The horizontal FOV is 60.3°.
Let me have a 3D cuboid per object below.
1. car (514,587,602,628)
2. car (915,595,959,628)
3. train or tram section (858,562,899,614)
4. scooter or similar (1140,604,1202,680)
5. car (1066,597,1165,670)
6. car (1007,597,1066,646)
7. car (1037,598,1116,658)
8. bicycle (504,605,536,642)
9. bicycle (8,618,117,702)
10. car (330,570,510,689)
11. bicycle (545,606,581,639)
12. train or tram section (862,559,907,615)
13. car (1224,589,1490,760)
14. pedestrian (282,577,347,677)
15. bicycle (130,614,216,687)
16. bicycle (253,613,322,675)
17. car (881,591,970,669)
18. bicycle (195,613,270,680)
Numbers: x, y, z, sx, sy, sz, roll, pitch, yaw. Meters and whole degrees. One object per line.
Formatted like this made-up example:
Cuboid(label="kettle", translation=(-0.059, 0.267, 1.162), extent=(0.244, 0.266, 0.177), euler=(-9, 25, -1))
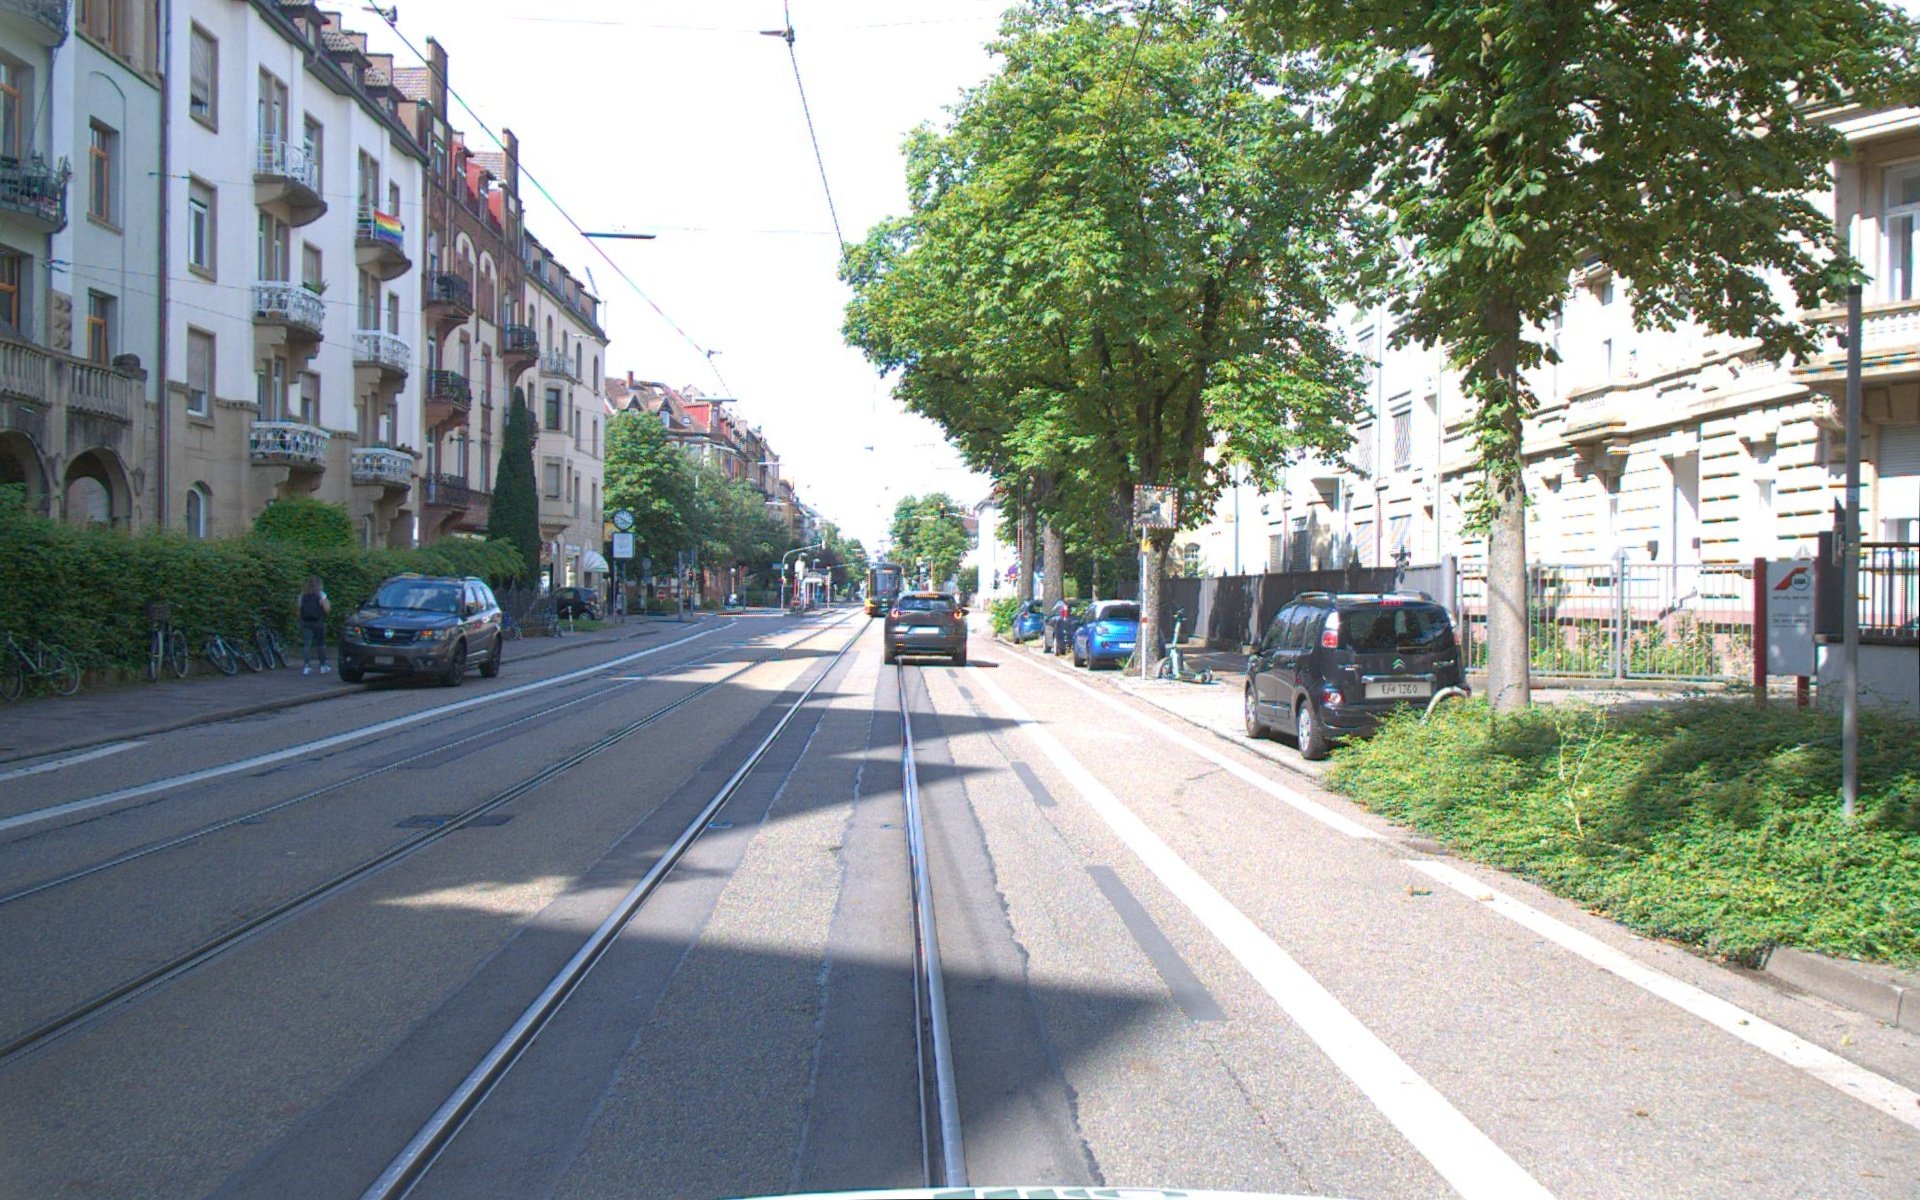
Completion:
Cuboid(label="car", translation=(-16.611, 0.308, 68.455), extent=(3.170, 1.539, 1.679), euler=(2, 0, 1))
Cuboid(label="car", translation=(-1.107, 0.515, 78.424), extent=(1.750, 1.518, 4.878), euler=(0, 0, -5))
Cuboid(label="train or tram section", translation=(-5.878, -0.790, 118.493), extent=(2.600, 3.589, 8.486), euler=(0, 0, -5))
Cuboid(label="scooter or similar", translation=(3.821, 0.749, 29.983), extent=(0.437, 1.322, 1.169), euler=(-3, 2, -33))
Cuboid(label="car", translation=(3.417, 0.704, 36.896), extent=(1.607, 1.522, 3.624), euler=(-1, 0, -4))
Cuboid(label="car", translation=(2.500, 0.693, 55.024), extent=(1.591, 1.522, 3.846), euler=(-1, 0, -3))
Cuboid(label="car", translation=(3.115, 0.736, 44.802), extent=(1.607, 1.522, 3.754), euler=(-1, 0, -4))
Cuboid(label="bicycle", translation=(-12.108, 0.640, 45.536), extent=(0.417, 0.976, 1.705), euler=(2, 0, -1))
Cuboid(label="bicycle", translation=(-11.292, 0.731, 20.860), extent=(0.375, 0.976, 1.809), euler=(2, 0, -1))
Cuboid(label="car", translation=(-8.851, 0.432, 27.532), extent=(1.750, 1.793, 4.878), euler=(0, 0, -5))
Cuboid(label="bicycle", translation=(-12.257, 0.704, 51.096), extent=(0.500, 0.976, 1.816), euler=(3, -2, 4))
Cuboid(label="train or tram section", translation=(-5.086, -0.826, 110.004), extent=(2.600, 3.589, 8.486), euler=(0, 0, -5))
Cuboid(label="car", translation=(4.203, 0.731, 18.195), extent=(1.663, 1.619, 4.200), euler=(-1, 0, -4))
Cuboid(label="pedestrian", translation=(-10.655, 0.436, 27.336), extent=(0.666, 1.595, 0.882), euler=(2, 0, 0))
Cuboid(label="bicycle", translation=(-11.368, 0.709, 23.944), extent=(0.375, 0.976, 1.809), euler=(2, 0, -1))
Cuboid(label="bicycle", translation=(-11.437, 0.732, 28.174), extent=(0.375, 0.976, 1.921), euler=(2, 0, -1))
Cuboid(label="car", translation=(-0.815, 0.604, 36.309), extent=(1.754, 1.538, 4.348), euler=(2, 1, -3))
Cuboid(label="bicycle", translation=(-11.431, 0.710, 26.034), extent=(0.375, 0.976, 1.809), euler=(2, 0, -1))
